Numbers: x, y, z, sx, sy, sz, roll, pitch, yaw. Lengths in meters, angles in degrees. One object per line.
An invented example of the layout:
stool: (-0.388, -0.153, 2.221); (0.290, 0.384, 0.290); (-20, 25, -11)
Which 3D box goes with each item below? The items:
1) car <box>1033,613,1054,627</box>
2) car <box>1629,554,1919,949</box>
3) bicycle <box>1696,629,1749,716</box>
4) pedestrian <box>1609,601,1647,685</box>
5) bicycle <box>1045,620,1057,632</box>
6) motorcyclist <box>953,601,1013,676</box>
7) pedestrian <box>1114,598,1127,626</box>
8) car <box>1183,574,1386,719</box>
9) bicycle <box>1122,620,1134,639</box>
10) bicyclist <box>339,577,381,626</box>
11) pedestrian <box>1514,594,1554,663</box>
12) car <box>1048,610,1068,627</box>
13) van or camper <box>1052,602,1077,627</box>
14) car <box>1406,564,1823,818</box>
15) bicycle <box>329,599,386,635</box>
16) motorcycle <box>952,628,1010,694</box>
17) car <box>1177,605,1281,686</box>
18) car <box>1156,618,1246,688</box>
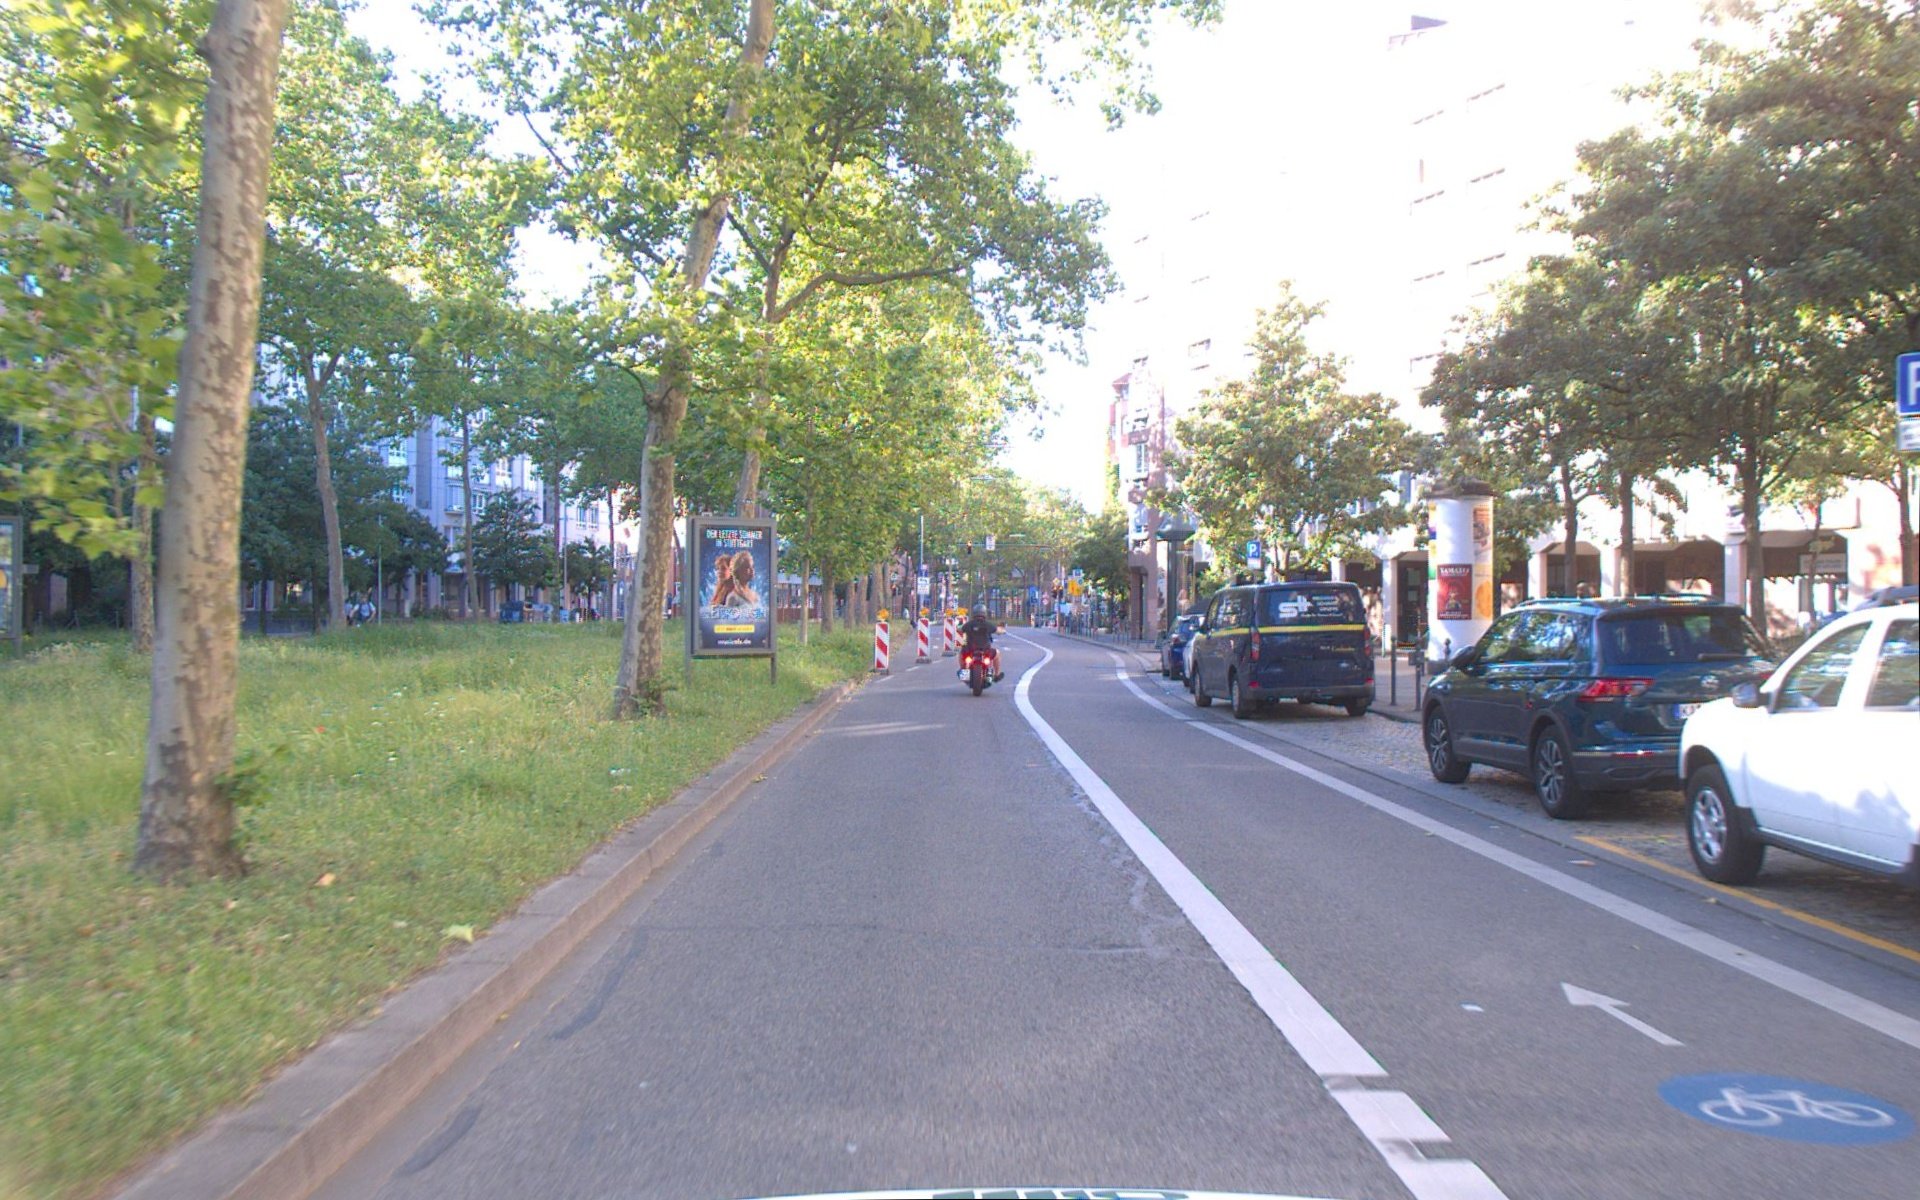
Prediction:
car: (7.897, 1.892, 156.740); (1.585, 1.325, 4.315); (0, -1, 9)
car: (5.146, 0.653, 8.353); (1.761, 1.754, 4.460); (-2, 0, 1)
bicycle: (11.297, 1.046, 24.475); (0.641, 1.208, 2.182); (0, 0, 27)
pedestrian: (16.287, 1.047, 40.331); (0.626, 2.016, 0.776); (0, -1, 0)
bicycle: (8.205, 2.385, 149.566); (0.723, 1.071, 1.748); (1, -1, -9)
motorcyclist: (0.402, 0.677, 29.602); (0.991, 1.285, 0.774); (3, -1, -1)
pedestrian: (10.072, 0.732, 103.858); (0.764, 1.769, 0.837); (0, 0, 9)
car: (4.918, 0.674, 25.873); (1.996, 1.977, 5.196); (-2, 0, -1)
bicycle: (11.117, 1.964, 109.337); (0.608, 1.247, 1.928); (0, -1, 12)
bicyclist: (-19.673, 0.061, 54.239); (0.922, 1.598, 1.209); (0, -1, 0)
pedestrian: (17.101, 0.847, 49.257); (0.802, 2.016, 0.845); (1, -1, -14)
car: (9.888, 1.895, 166.615); (1.585, 1.648, 4.488); (0, -1, 9)
van or camper: (10.990, 1.509, 173.129); (2.005, 2.585, 5.777); (0, -1, 10)
car: (5.276, 0.661, 14.064); (1.761, 1.754, 4.575); (-2, 0, 1)
bicycle: (-19.675, 0.575, 54.054); (0.937, 1.146, 2.436); (0, -1, 1)
motorcycle: (0.362, 1.072, 29.572); (0.997, 1.116, 2.007); (1, -1, 0)
car: (5.327, 0.868, 33.158); (1.666, 1.491, 4.177); (-1, -1, 4)
car: (5.587, 1.198, 38.708); (1.666, 1.509, 4.250); (-1, -1, 3)
